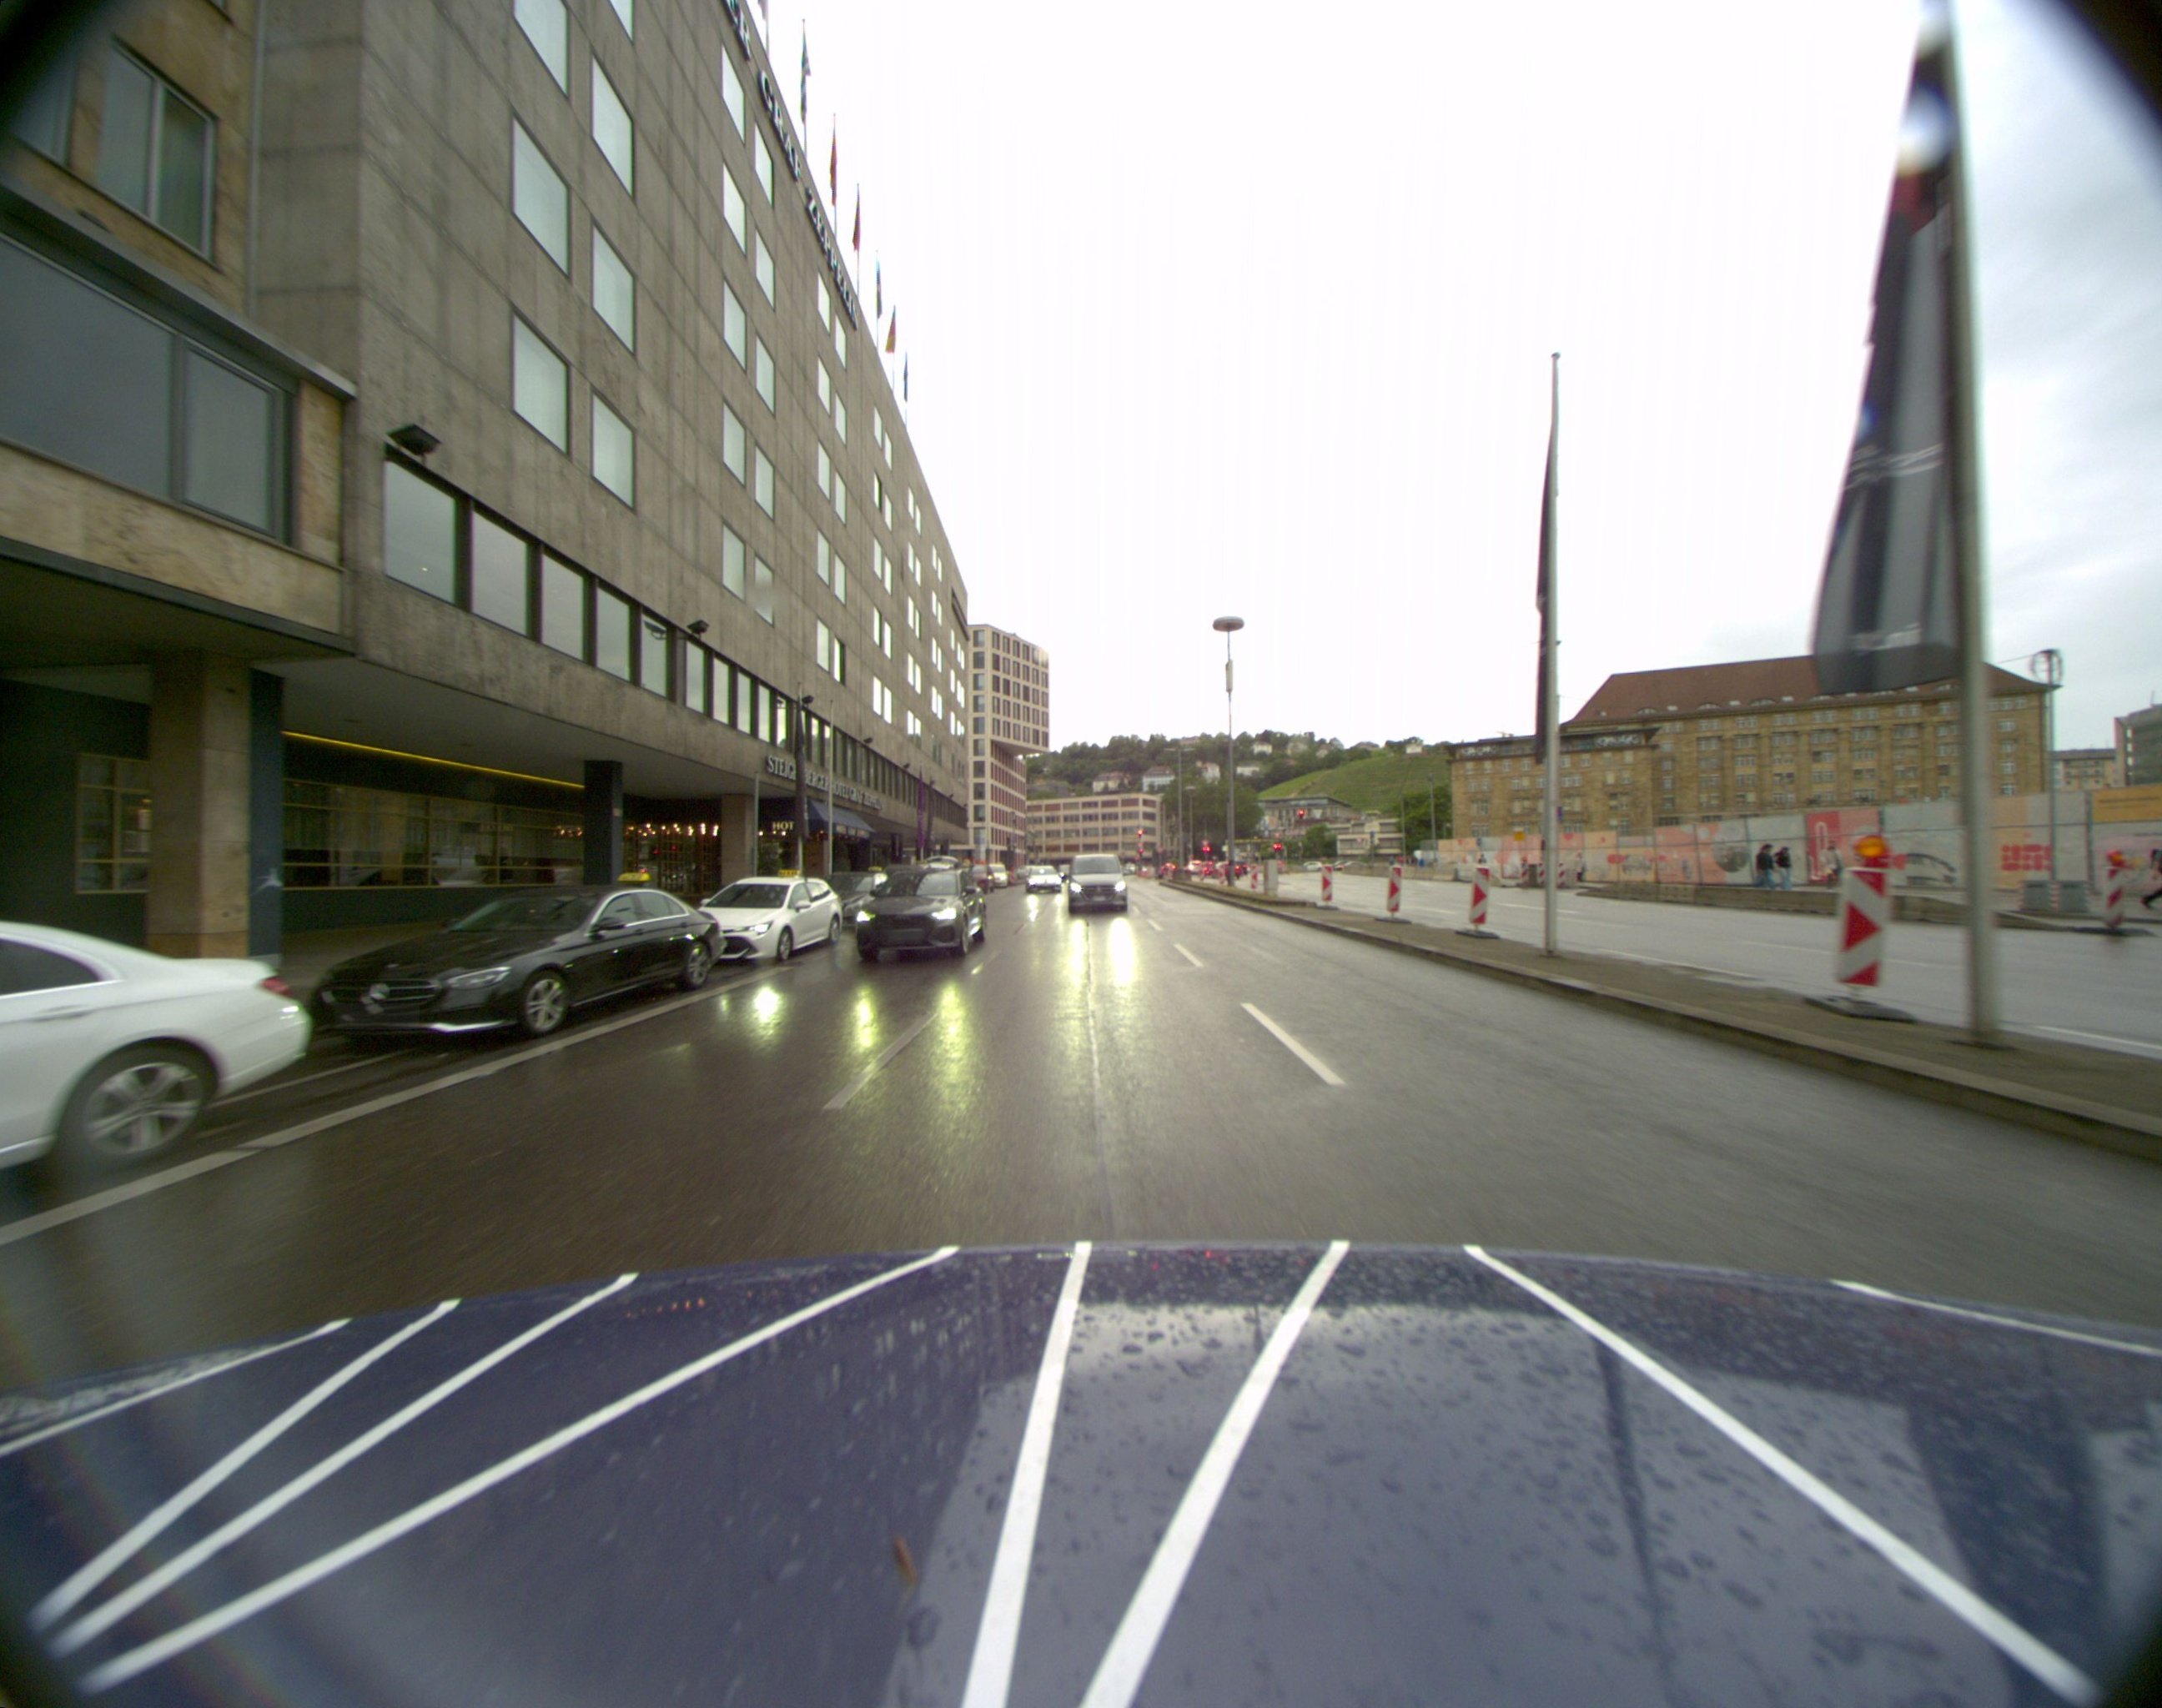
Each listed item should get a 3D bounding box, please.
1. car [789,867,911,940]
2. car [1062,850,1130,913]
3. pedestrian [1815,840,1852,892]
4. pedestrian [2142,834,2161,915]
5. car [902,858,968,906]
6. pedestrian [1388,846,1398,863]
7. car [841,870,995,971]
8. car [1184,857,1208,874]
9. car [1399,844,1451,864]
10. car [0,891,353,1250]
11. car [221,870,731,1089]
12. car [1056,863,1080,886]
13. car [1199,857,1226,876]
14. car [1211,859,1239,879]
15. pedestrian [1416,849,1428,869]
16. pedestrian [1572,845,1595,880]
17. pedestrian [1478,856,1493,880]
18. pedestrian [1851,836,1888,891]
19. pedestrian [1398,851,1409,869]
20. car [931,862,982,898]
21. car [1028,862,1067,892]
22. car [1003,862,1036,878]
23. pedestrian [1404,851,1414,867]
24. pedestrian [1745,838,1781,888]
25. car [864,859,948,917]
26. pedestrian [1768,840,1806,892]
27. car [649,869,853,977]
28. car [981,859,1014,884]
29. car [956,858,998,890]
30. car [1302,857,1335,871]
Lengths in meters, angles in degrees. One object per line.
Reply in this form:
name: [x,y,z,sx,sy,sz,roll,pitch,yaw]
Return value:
car: [-6.030,1.213,20.488,1.731,1.583,4.814,-2,0,0]
car: [0.516,0.831,25.678,1.998,1.849,5.160,-2,0,1]
pedestrian: [25.630,0.415,25.883,0.714,1.734,0.564,-2,1,21]
pedestrian: [24.825,0.468,17.205,0.587,1.825,0.717,-2,1,1]
car: [-6.033,1.098,31.857,1.731,1.732,4.814,-2,0,0]
pedestrian: [29.417,0.029,71.674,0.715,1.606,0.544,-2,1,1]
car: [-2.928,1.144,14.670,1.883,1.493,4.342,-2,0,1]
car: [12.059,1.155,79.984,1.785,1.684,3.916,-2,0,-1]
car: [41.266,0.032,91.155,5.243,2.224,2.001,-2,1,6]
car: [-6.141,1.116,2.861,1.879,1.628,5.011,-2,0,0]
car: [-6.104,1.093,8.682,1.879,1.628,4.814,-2,0,0]
car: [-1.119,1.752,66.495,1.967,1.852,4.000,-1,0,1]
car: [12.687,1.156,73.459,1.785,1.684,3.916,-2,0,-1]
car: [12.458,1.281,65.934,1.785,1.684,3.916,-1,0,0]
pedestrian: [28.797,0.423,64.163,0.715,1.606,0.544,-2,1,1]
pedestrian: [26.616,0.456,40.253,0.664,1.825,0.720,-2,1,1]
pedestrian: [27.580,0.965,51.791,0.715,1.606,0.544,-2,1,1]
pedestrian: [26.387,0.318,25.436,0.661,1.825,0.556,-2,1,21]
pedestrian: [30.492,0.565,71.821,0.715,1.606,0.544,-2,1,1]
car: [-6.049,1.229,37.365,1.731,1.604,4.001,-2,0,0]
car: [-1.831,1.247,42.195,1.898,1.477,4.000,-2,0,0]
car: [-6.298,1.640,77.449,1.873,1.461,3.991,-2,0,-28]
pedestrian: [33.414,0.532,77.458,0.715,1.606,0.544,-2,1,1]
pedestrian: [24.035,0.306,26.788,0.714,1.723,0.718,-2,1,19]
car: [-6.015,1.116,26.660,1.731,1.732,4.814,-2,0,0]
pedestrian: [25.132,0.422,27.055,0.714,1.825,0.718,-2,1,19]
car: [-6.048,1.158,14.673,1.731,1.583,4.814,-2,0,0]
car: [-5.772,1.196,52.864,1.731,1.604,4.001,-2,0,0]
car: [-5.777,1.102,42.544,1.731,1.604,4.001,-2,0,0]
car: [34.699,1.475,111.149,4.194,1.846,1.832,-2,1,6]
